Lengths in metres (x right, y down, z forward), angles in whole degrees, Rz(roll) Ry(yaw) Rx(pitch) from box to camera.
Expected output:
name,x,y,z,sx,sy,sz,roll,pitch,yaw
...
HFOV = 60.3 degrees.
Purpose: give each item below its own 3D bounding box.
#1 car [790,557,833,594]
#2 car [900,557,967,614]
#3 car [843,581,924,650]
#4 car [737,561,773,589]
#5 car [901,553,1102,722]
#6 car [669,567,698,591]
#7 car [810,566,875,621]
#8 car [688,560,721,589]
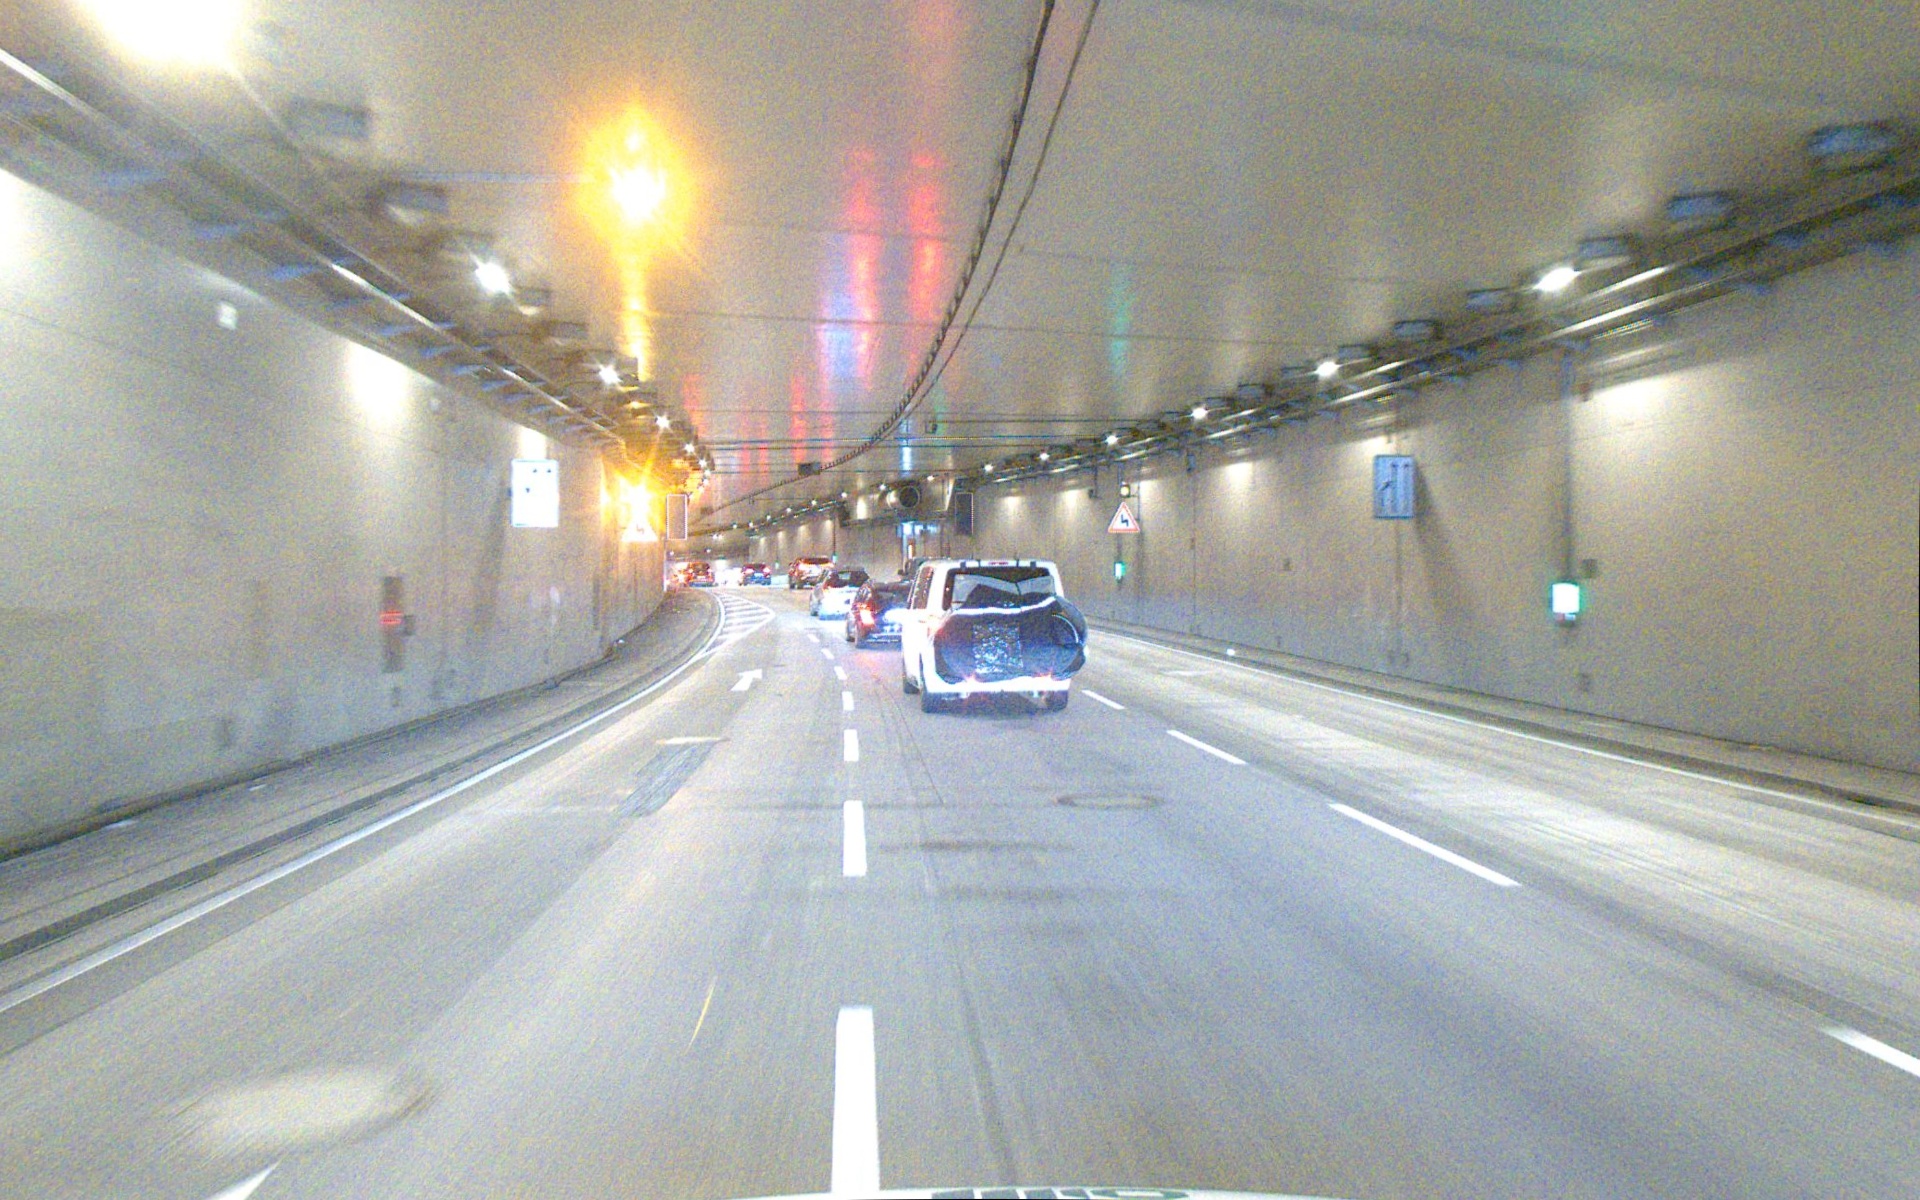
name,x,y,z,sx,sy,sz,roll,pitch,yaw
car,-7.263,-1.178,80.737,1.576,1.659,3.343,1,-1,-14
car,-0.927,-0.458,55.810,1.837,1.792,3.993,1,-1,-7
car,-1.731,0.299,36.550,1.572,1.419,3.273,0,1,-7
car,-12.975,-1.585,104.564,1.792,1.659,3.829,1,-1,-14
car,0.386,0.393,21.424,1.955,1.879,5.295,-1,1,-6
car,-20.166,-1.492,120.576,1.791,1.659,3.830,1,-1,-13
car,-3.621,-0.209,50.429,1.574,1.622,3.347,1,1,-11
car,-15.990,-1.569,103.310,1.790,1.659,3.831,1,-1,-12
